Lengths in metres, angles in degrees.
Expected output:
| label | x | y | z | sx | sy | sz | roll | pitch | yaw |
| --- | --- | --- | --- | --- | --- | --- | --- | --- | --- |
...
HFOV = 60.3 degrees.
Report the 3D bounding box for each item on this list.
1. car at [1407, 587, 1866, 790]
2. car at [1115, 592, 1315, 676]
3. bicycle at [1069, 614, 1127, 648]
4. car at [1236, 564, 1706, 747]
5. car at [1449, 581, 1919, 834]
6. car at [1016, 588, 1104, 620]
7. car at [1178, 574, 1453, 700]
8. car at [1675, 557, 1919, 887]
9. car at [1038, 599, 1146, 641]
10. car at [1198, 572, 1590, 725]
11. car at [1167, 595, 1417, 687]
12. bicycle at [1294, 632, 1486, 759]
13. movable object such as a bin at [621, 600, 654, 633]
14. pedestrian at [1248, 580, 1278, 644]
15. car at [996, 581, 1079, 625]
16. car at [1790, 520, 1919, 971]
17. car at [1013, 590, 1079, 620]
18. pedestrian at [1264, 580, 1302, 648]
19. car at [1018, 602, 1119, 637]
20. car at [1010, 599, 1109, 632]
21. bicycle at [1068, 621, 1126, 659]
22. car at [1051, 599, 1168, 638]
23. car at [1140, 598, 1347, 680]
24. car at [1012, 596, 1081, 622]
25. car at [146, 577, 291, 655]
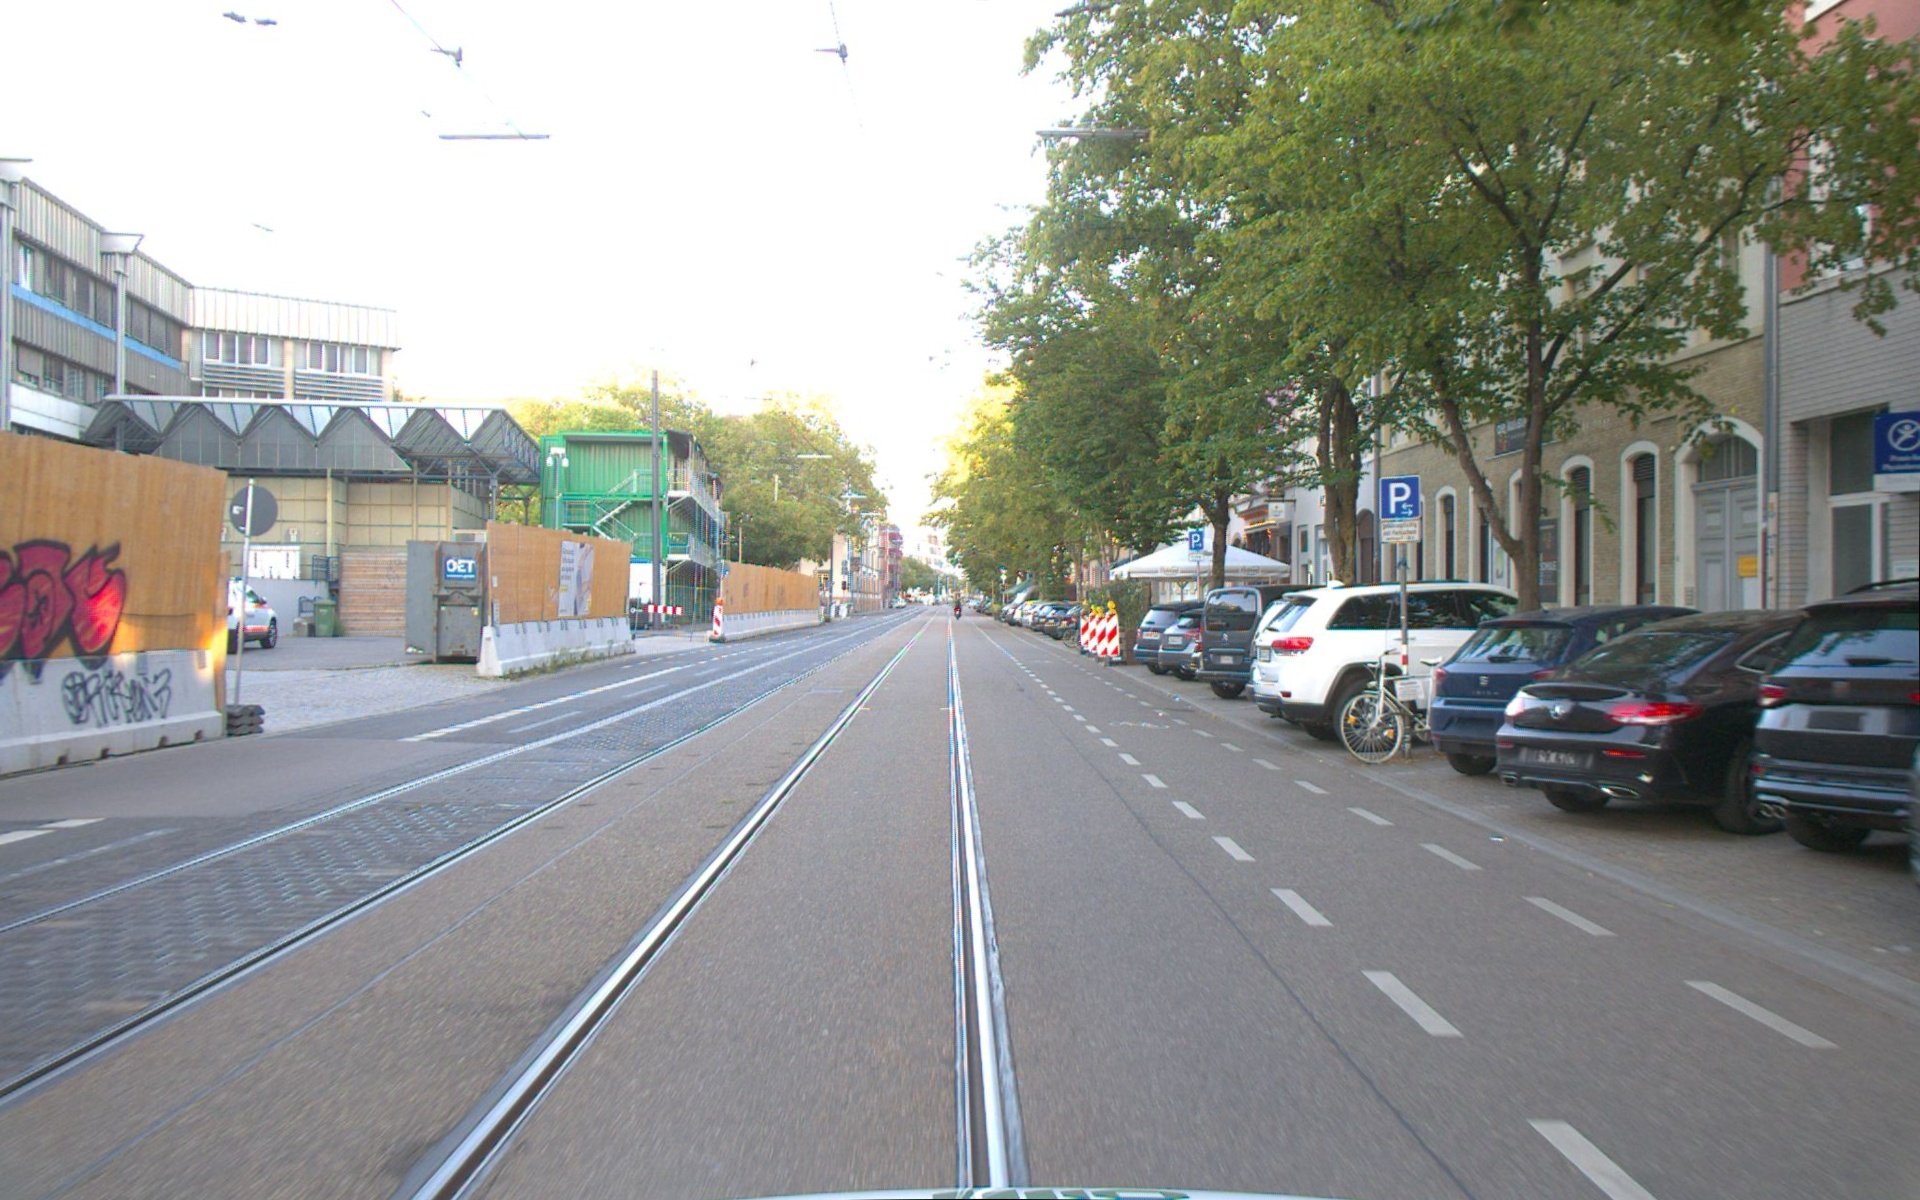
| label | x | y | z | sx | sy | sz | roll | pitch | yaw |
| --- | --- | --- | --- | --- | --- | --- | --- | --- | --- |
| car | 6.023 | 0.710 | 14.720 | 3.700 | 1.451 | 1.713 | -3 | 0 | -25 |
| car | 5.415 | 0.695 | 35.109 | 3.913 | 1.580 | 1.692 | -2 | 0 | -26 |
| bicycle | 4.700 | 1.038 | 56.409 | 1.865 | 1.049 | 0.533 | -3 | 0 | -3 |
| car | 5.558 | 0.577 | 18.422 | 4.555 | 1.717 | 2.007 | -2 | 0 | -2 |
| car | 5.892 | 0.658 | 12.039 | 4.155 | 1.451 | 1.962 | -3 | 0 | -23 |
| car | 5.161 | 0.217 | 85.846 | 4.175 | 1.576 | 2.014 | -1 | 0 | -11 |
| car | 5.848 | 0.560 | 27.165 | 4.102 | 1.838 | 1.988 | -2 | 0 | -29 |
| car | 6.663 | 0.546 | 9.846 | 4.149 | 1.677 | 1.965 | -3 | 0 | -19 |
| car | 5.438 | 0.802 | 68.226 | 4.052 | 1.496 | 1.814 | -3 | 0 | -18 |
| car | 5.642 | 0.601 | 21.847 | 4.559 | 1.717 | 2.005 | -3 | 0 | -6 |
| car | 6.070 | 0.709 | 30.193 | 4.258 | 1.413 | 1.791 | -3 | 0 | -26 |
| bicycle | 4.295 | 0.936 | 16.517 | 1.805 | 1.122 | 0.496 | -3 | 1 | -15 |
| movable object such as a bin | -13.893 | 0.708 | 71.329 | 1.280 | 1.393 | 0.783 | 0 | 0 | -4 |
| pedestrian | 8.534 | 0.339 | 46.537 | 0.541 | 1.794 | 0.850 | 0 | 0 | -13 |
| car | 5.047 | 0.205 | 107.790 | 5.015 | 2.689 | 2.012 | -2 | -1 | -18 |
| car | 6.384 | 0.476 | 7.132 | 4.889 | 1.858 | 2.196 | -3 | 0 | -19 |
| car | 5.149 | 0.310 | 99.276 | 3.869 | 1.648 | 1.921 | -2 | -1 | 0 |
| pedestrian | 8.669 | 0.364 | 44.388 | 0.694 | 1.794 | 0.708 | 0 | 0 | -29 |
| car | 4.790 | 0.846 | 73.157 | 4.063 | 1.496 | 2.000 | 0 | 0 | -25 |
| car | 4.669 | 0.725 | 77.551 | 4.195 | 1.416 | 2.000 | -1 | 0 | -24 |
| bicycle | 4.094 | 1.192 | 49.473 | 1.645 | 1.049 | 0.556 | -3 | 0 | -2 |
| car | 5.695 | 0.698 | 63.203 | 4.099 | 1.451 | 1.813 | 0 | 0 | -20 |
| car | 5.593 | 0.739 | 32.603 | 3.726 | 1.432 | 1.692 | -2 | 0 | -26 |
| car | 5.390 | 0.576 | 103.228 | 3.899 | 1.512 | 1.906 | -1 | -1 | -25 |
| car | -17.285 | 0.360 | 38.782 | 1.956 | 1.693 | 4.272 | 1 | 0 | -8 |
